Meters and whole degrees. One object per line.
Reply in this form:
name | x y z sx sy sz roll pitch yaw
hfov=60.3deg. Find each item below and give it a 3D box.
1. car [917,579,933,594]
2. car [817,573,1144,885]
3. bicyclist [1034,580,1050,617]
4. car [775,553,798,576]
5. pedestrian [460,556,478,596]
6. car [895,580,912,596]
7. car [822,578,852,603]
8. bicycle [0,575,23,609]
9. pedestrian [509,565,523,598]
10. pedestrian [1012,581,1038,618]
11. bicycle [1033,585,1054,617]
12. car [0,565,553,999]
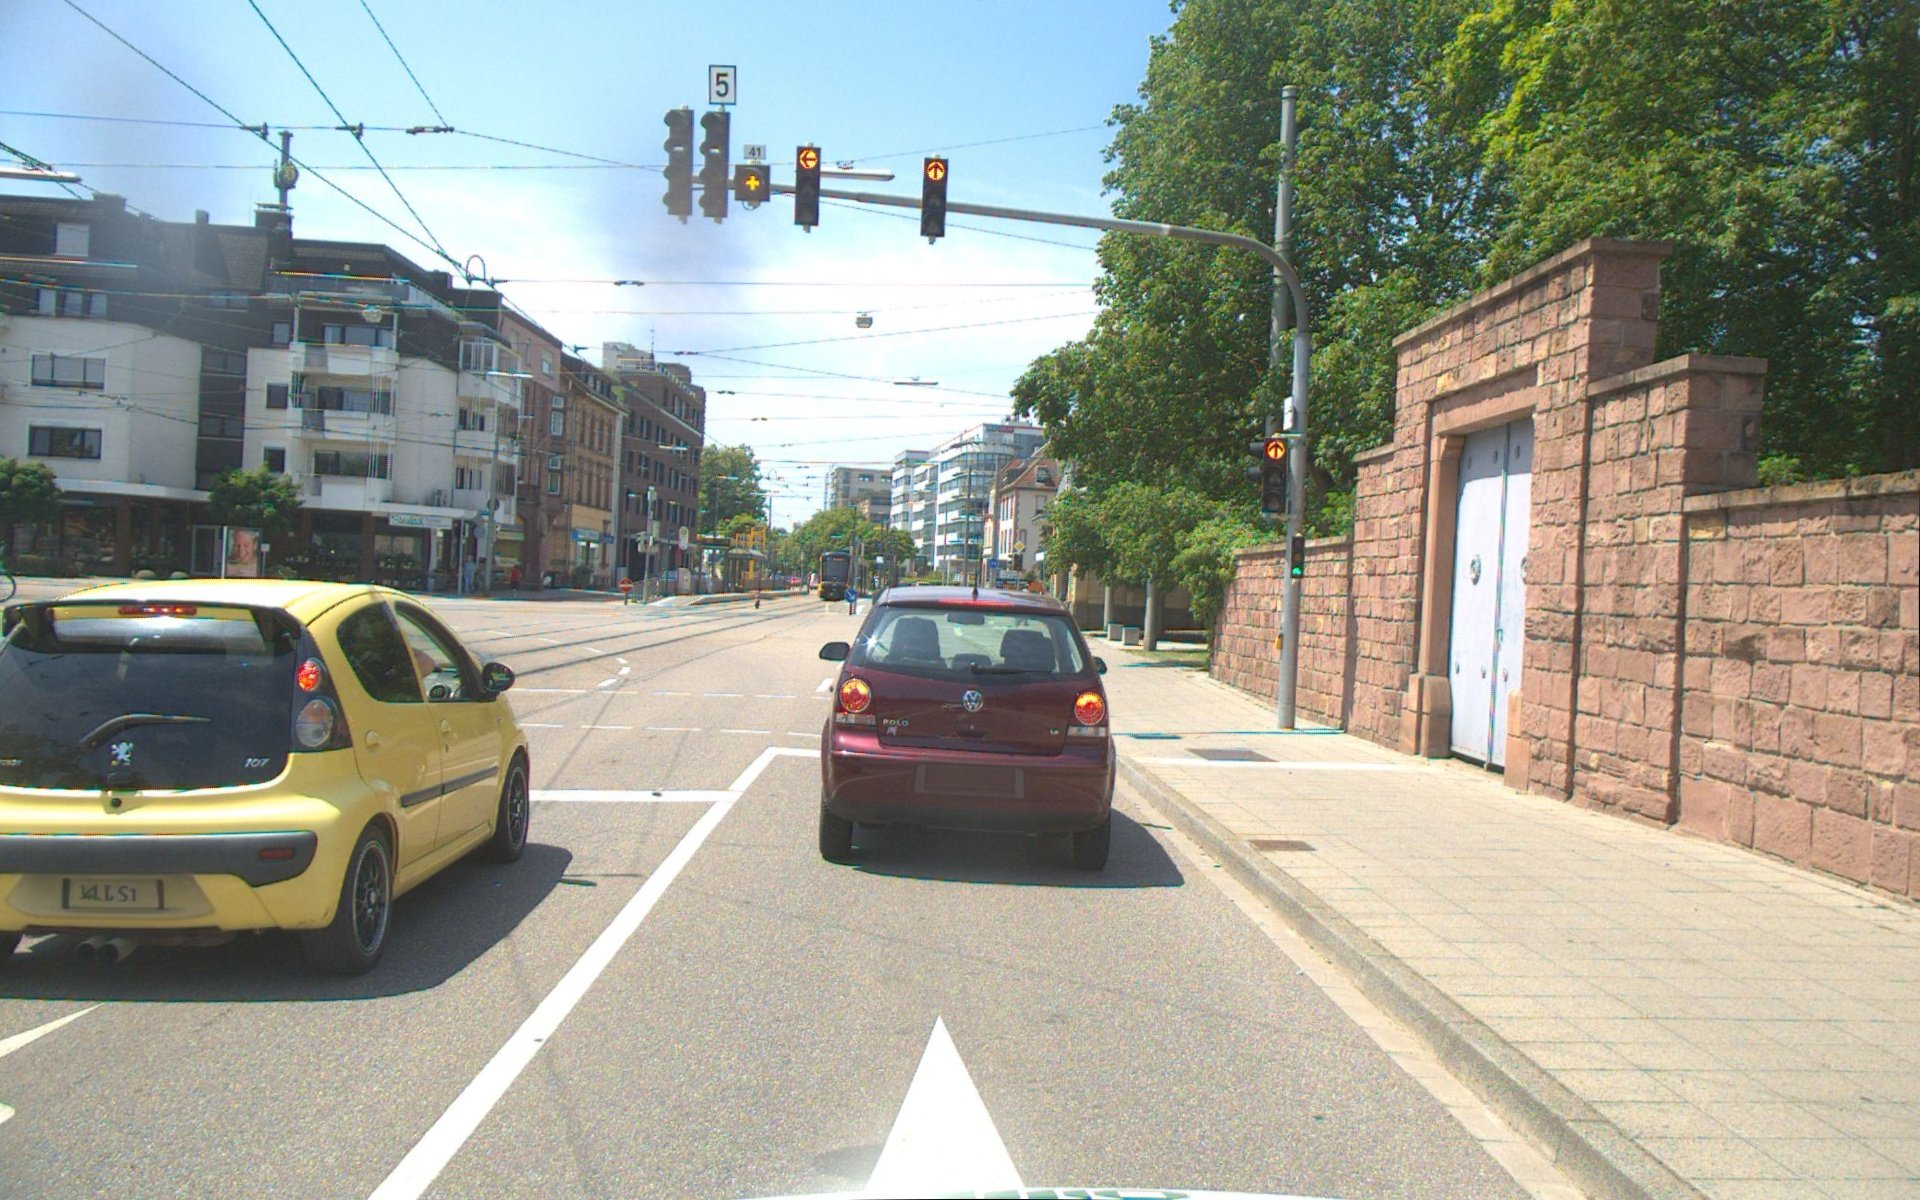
car | -3.331 -1.285 156.786 1.540 1.440 3.719 0 0 -2
car | 0.046 0.628 10.310 1.577 1.489 4.084 3 0 -2
bicyclist | 4.172 -0.074 84.060 0.707 1.850 0.888 1 -1 -1
car | -16.358 -3.364 156.210 1.700 2.048 3.999 2 0 -1
pedestrian | -22.558 -1.102 76.024 0.497 1.785 0.606 1 -1 45
car | -6.087 -1.295 178.721 1.744 1.651 3.997 1 0 -3
car | -8.856 -0.667 119.022 1.899 1.670 3.999 1 0 -2
bicycle | -23.452 -0.211 39.340 1.953 0.797 0.463 1 -1 -23
pedestrian | -21.384 -0.902 79.611 0.473 1.568 0.538 1 -1 4
pedestrian | 3.075 -0.010 78.349 0.964 1.690 0.917 2 0 -11
bicycle | 4.199 0.071 83.440 0.818 1.552 3.999 1 0 -1
car | -3.009 0.591 7.266 1.688 1.470 3.292 1 1 -2
